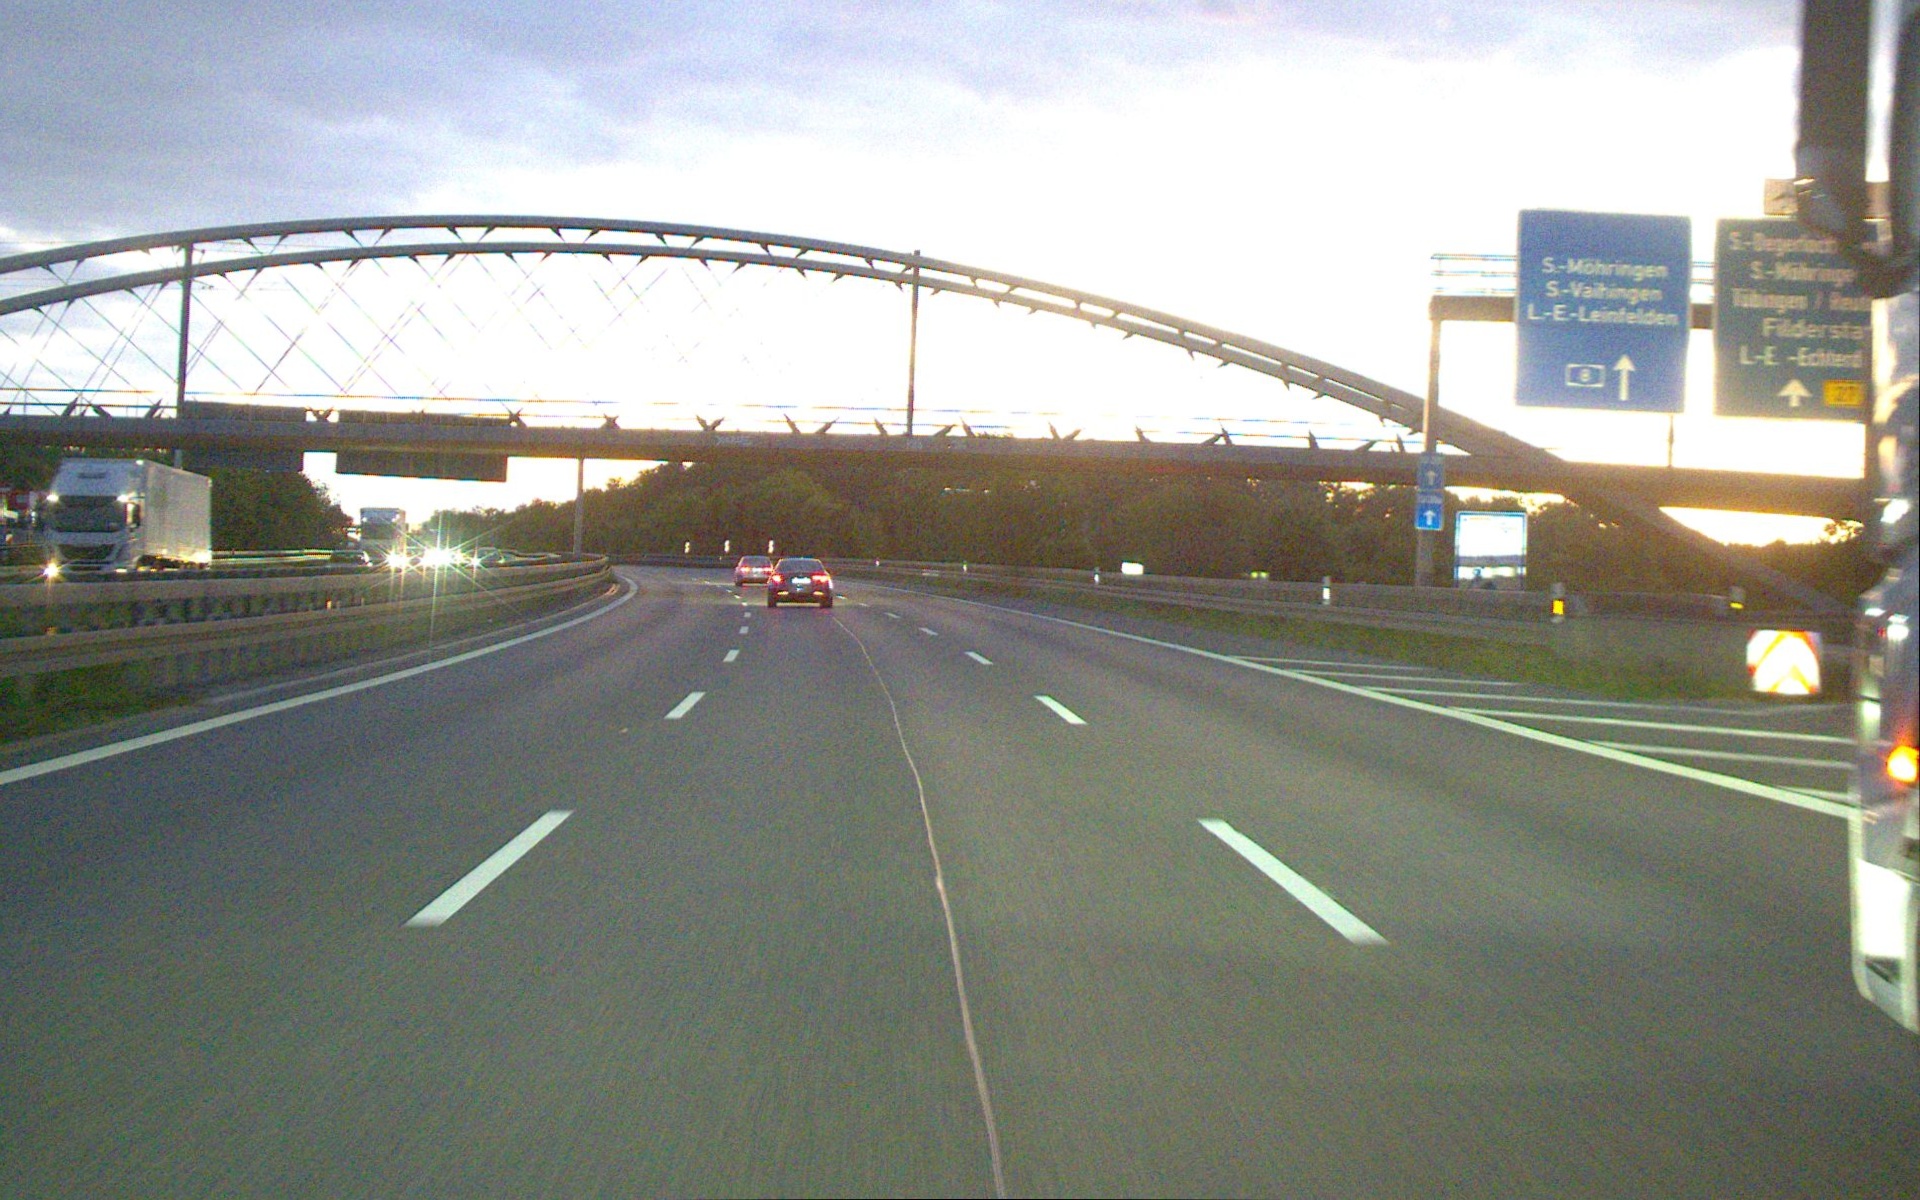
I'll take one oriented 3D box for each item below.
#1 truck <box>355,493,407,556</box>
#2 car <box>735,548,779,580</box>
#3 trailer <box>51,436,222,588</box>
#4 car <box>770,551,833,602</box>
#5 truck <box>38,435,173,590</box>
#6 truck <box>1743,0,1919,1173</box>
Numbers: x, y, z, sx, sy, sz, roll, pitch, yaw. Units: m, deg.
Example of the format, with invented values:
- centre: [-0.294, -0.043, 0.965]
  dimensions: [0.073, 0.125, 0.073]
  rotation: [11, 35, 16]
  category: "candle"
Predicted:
- centre: [-38.691, -5.037, 229.993]
  dimensions: [2.824, 4.034, 12.218]
  rotation: [0, 1, -7]
  category: "truck"
- centre: [-9.509, -1.680, 161.152]
  dimensions: [1.689, 1.397, 3.408]
  rotation: [0, -1, 2]
  category: "car"
- centre: [-25.960, -2.732, 109.155]
  dimensions: [2.824, 4.492, 14.630]
  rotation: [0, 1, -4]
  category: "trailer"
- centre: [-4.627, -0.669, 100.087]
  dimensions: [1.689, 1.397, 3.409]
  rotation: [1, 0, -5]
  category: "car"
- centre: [-25.540, -2.592, 103.031]
  dimensions: [2.824, 4.492, 6.246]
  rotation: [0, 1, -4]
  category: "truck"
- centre: [3.724, -0.570, 4.855]
  dimensions: [2.690, 4.057, 10.521]
  rotation: [1, 1, -1]
  category: "truck"
